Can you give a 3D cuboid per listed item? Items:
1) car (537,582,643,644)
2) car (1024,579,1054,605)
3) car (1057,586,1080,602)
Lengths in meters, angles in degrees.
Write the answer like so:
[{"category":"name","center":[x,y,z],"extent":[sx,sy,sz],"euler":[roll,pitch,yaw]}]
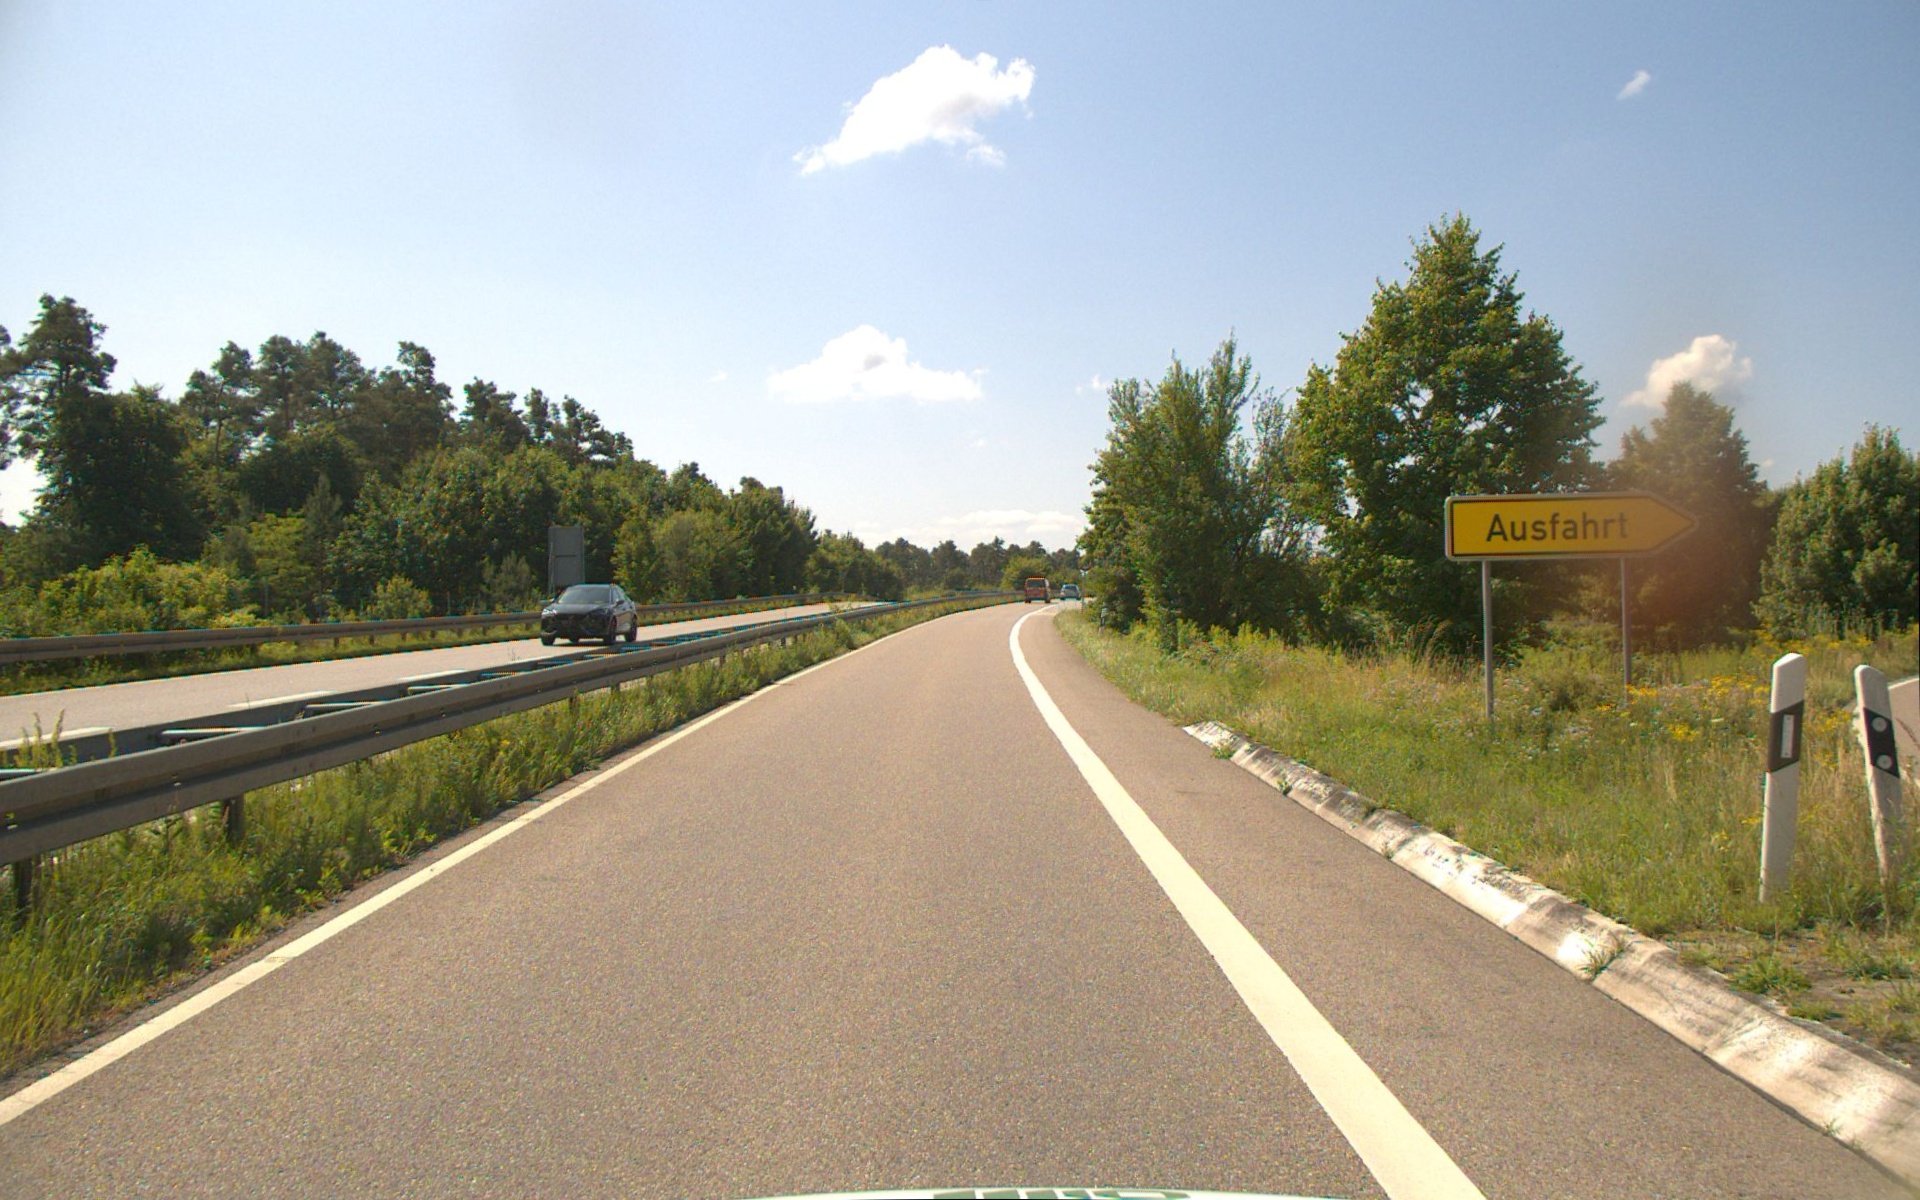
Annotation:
[{"category":"car","center":[-9.587,0.308,43.147],"extent":[1.719,1.527,4.574],"euler":[1,0,0]},{"category":"car","center":[6.369,-0.635,132.673],"extent":[2.033,2.028,5.115],"euler":[1,0,7]},{"category":"car","center":[10.292,-0.556,157.193],"extent":[1.964,1.520,4.241],"euler":[1,0,7]}]
